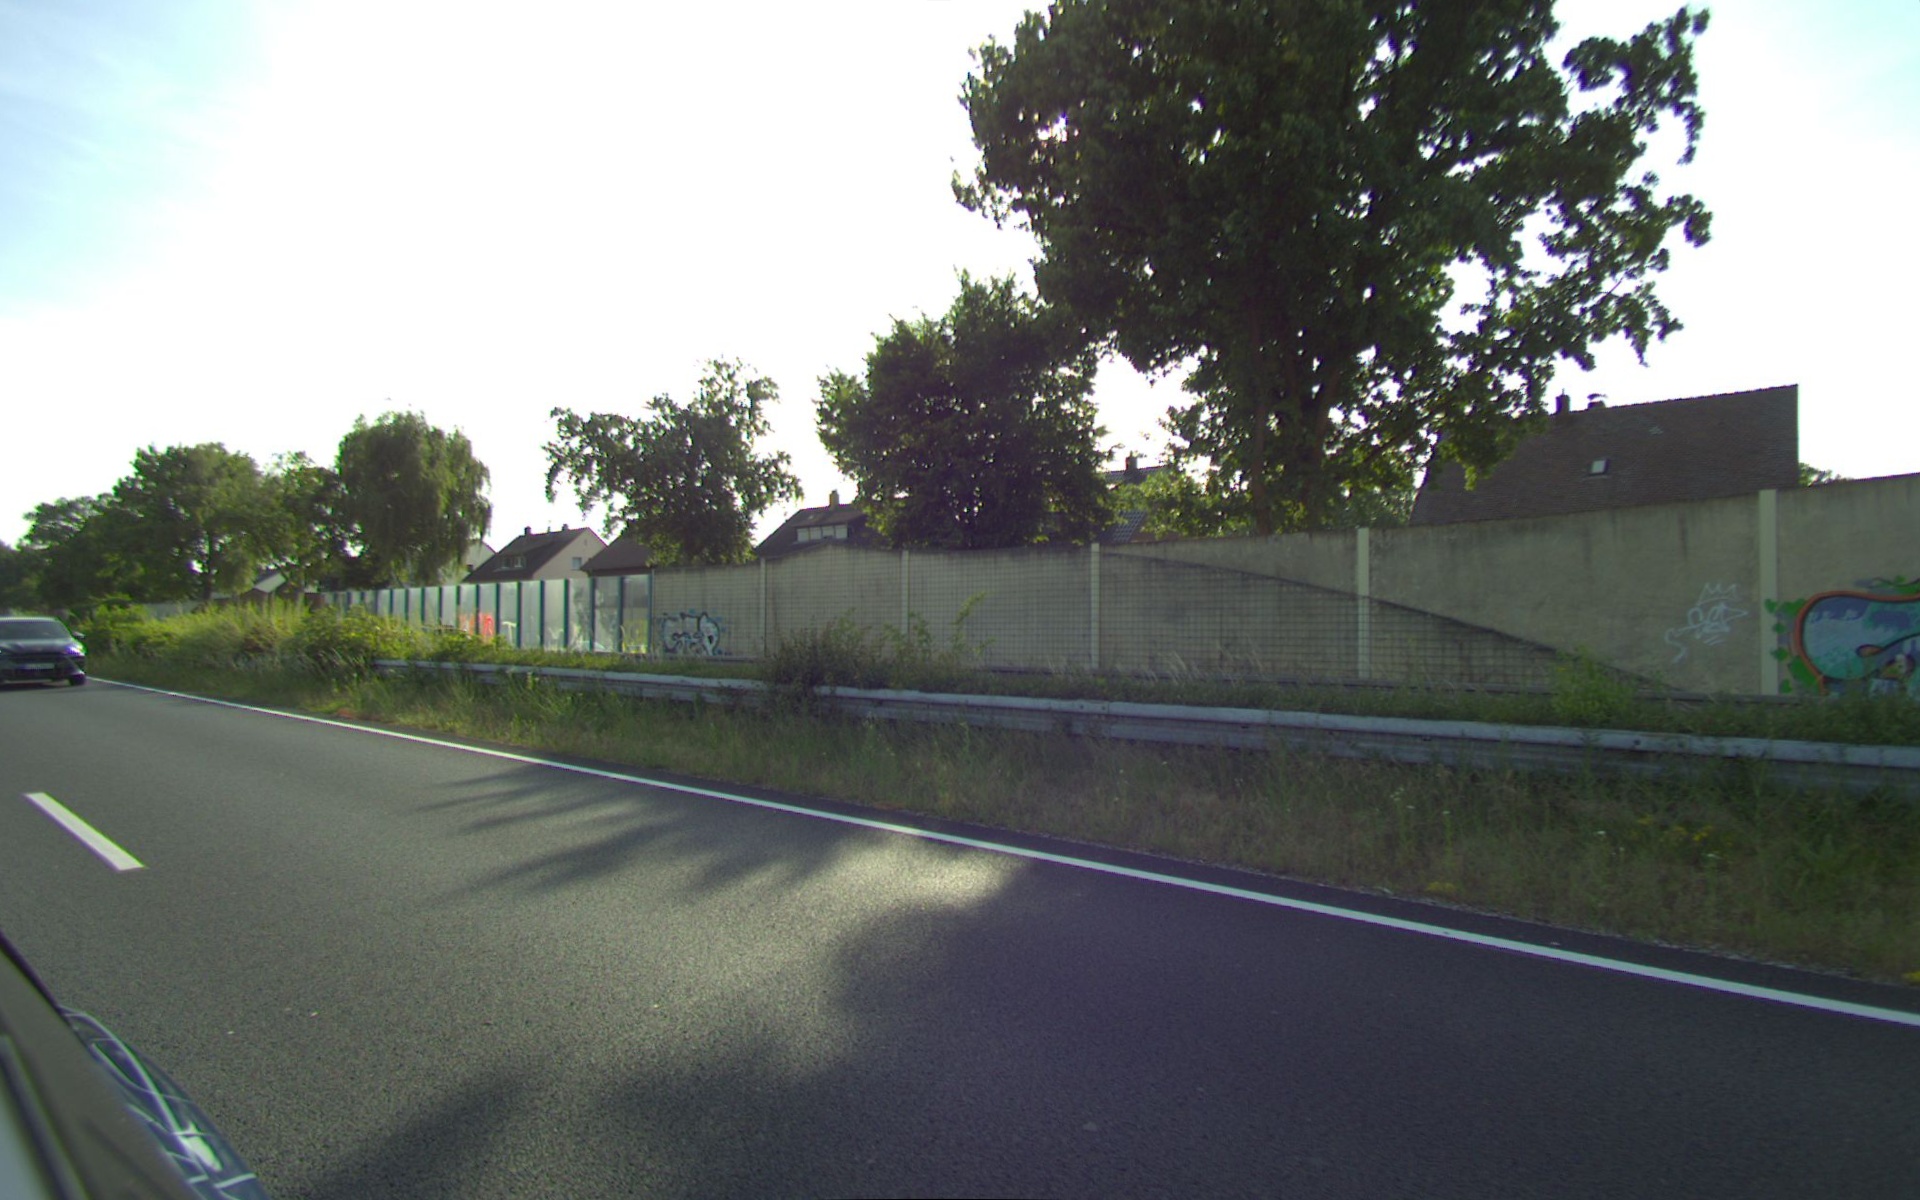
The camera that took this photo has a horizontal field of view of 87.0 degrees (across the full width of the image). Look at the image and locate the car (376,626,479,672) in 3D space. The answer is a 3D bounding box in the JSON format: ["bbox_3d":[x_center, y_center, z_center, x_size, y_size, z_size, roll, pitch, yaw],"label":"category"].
[{"bbox_3d":[-18.161,1.618,34.431,4.287,1.371,1.631,-1,1,41],"label":"car"}]

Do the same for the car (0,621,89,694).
[{"bbox_3d":[-21.829,1.271,23.535,4.244,1.536,1.798,-1,0,41],"label":"car"}]
